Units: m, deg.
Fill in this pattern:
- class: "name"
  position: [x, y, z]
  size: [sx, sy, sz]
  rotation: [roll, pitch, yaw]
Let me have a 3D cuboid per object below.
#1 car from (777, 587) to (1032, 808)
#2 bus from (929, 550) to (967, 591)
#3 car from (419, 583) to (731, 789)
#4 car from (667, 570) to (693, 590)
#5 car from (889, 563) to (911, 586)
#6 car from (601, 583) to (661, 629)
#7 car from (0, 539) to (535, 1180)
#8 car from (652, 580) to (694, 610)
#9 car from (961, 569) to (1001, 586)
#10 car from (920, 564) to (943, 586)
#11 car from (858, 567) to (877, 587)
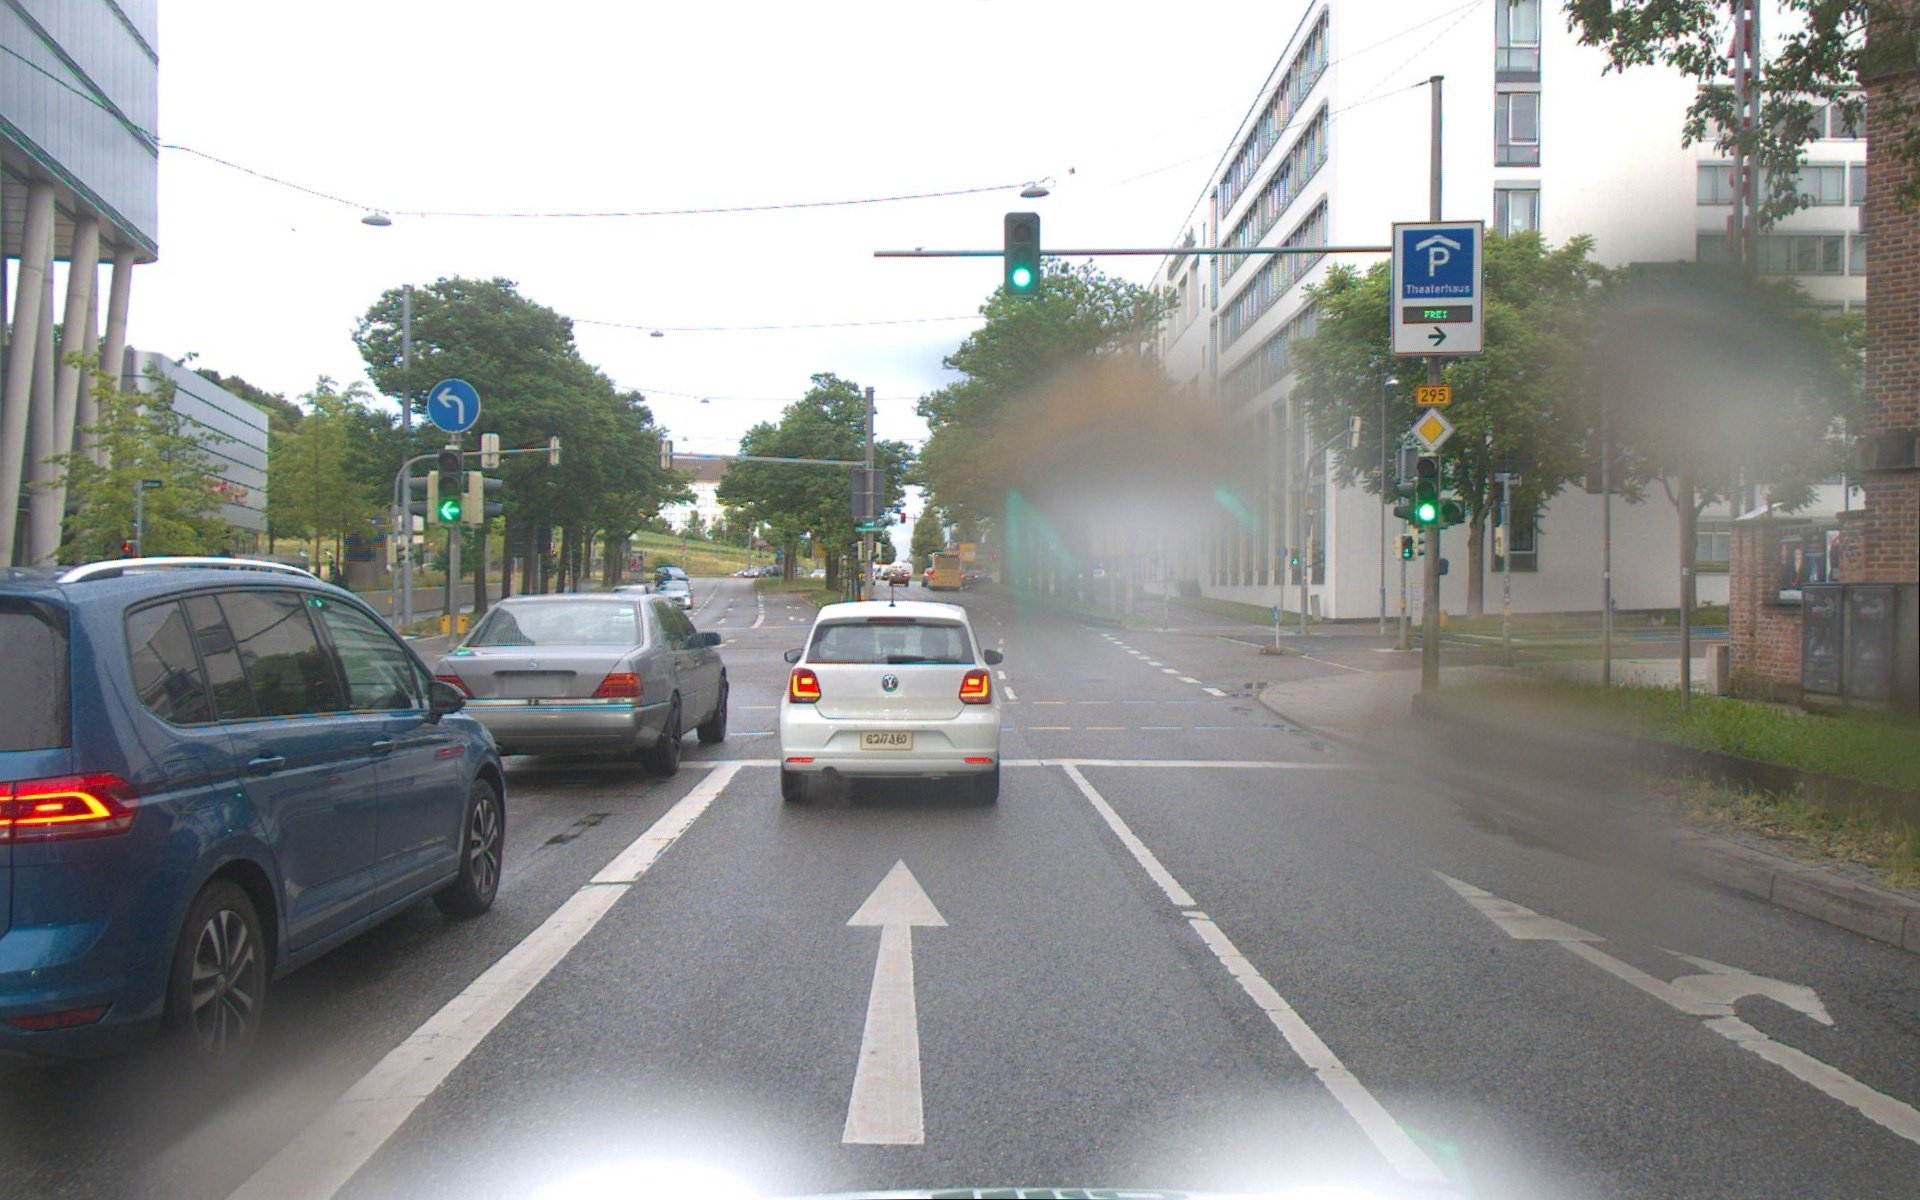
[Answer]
- class: "car"
  position: [-0.446, 0.676, 13.531]
  size: [1.758, 1.528, 3.999]
  rotation: [1, 0, -2]
- class: "bus"
  position: [-1.099, -2.507, 140.035]
  size: [2.772, 3.323, 9.995]
  rotation: [1, 1, -3]
- class: "car"
  position: [-3.215, 0.645, 14.627]
  size: [1.809, 1.537, 4.048]
  rotation: [-1, 0, 0]
- class: "car"
  position: [-24.330, -1.770, 143.932]
  size: [1.955, 1.644, 5.114]
  rotation: [-2, 2, -7]
- class: "car"
  position: [-5.524, -2.358, 152.387]
  size: [1.954, 2.049, 3.998]
  rotation: [0, 0, -3]
- class: "car"
  position: [-11.900, 0.196, 59.991]
  size: [1.716, 1.547, 3.813]
  rotation: [-1, 1, -6]
- class: "car"
  position: [-3.048, 0.658, 6.301]
  size: [1.736, 1.624, 4.197]
  rotation: [-1, 0, 0]
- class: "car"
  position: [-14.906, -0.284, 86.025]
  size: [1.779, 1.436, 4.650]
  rotation: [-2, 1, -6]
- class: "car"
  position: [1.921, -2.103, 152.356]
  size: [1.670, 1.542, 3.805]
  rotation: [0, 0, 42]
- class: "car"
  position: [-2.645, -2.323, 153.527]
  size: [1.954, 2.049, 3.998]
  rotation: [0, 0, -3]
- class: "car"
  position: [-8.634, -2.122, 153.855]
  size: [1.759, 1.772, 3.997]
  rotation: [-1, 1, -4]
